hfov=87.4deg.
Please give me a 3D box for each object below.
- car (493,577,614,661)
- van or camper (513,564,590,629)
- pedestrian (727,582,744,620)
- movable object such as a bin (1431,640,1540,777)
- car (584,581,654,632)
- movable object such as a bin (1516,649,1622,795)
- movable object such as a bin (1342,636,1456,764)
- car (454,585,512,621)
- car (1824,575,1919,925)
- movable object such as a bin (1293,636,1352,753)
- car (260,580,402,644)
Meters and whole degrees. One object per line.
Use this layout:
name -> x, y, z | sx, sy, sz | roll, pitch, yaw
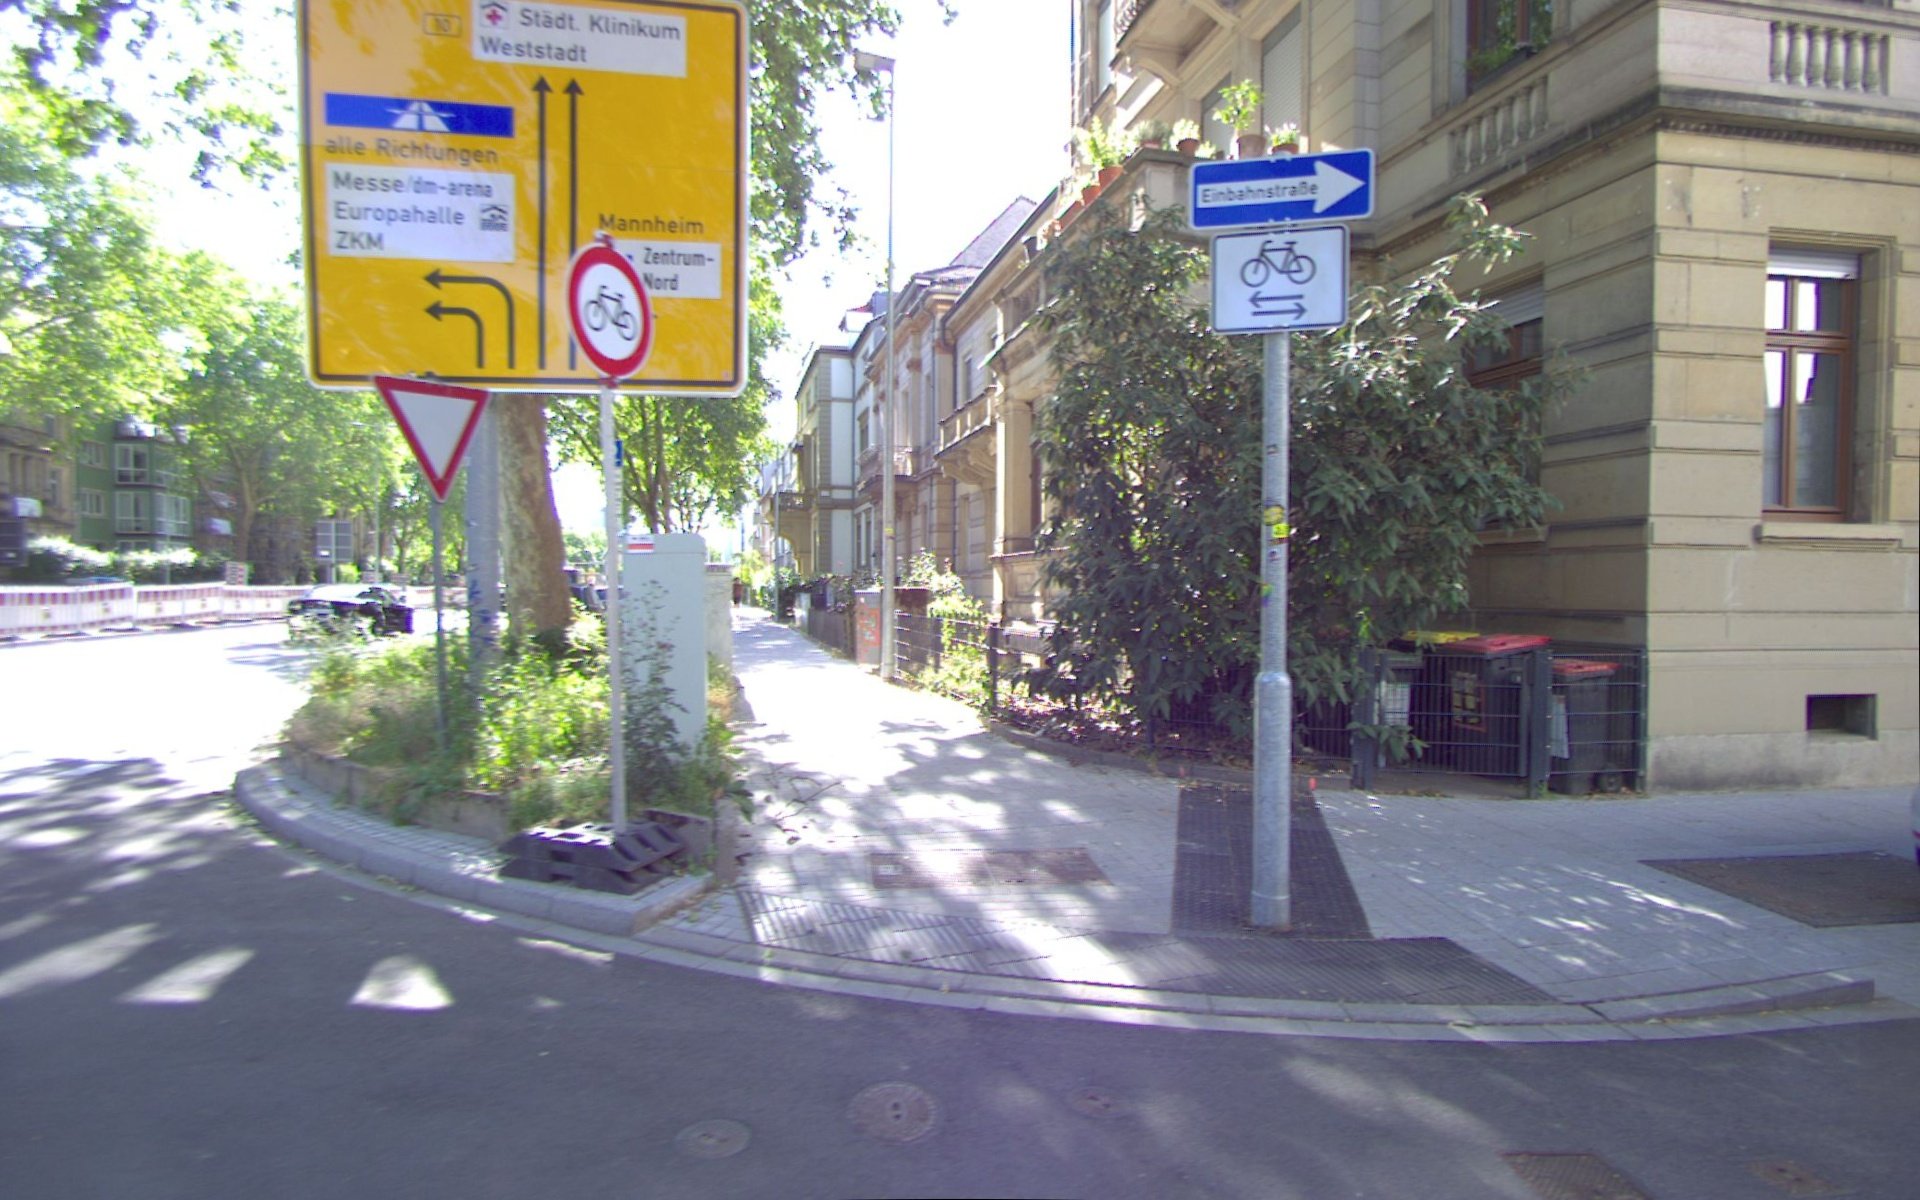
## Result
car -> -8.494, 0.344, 21.296 | 1.748, 1.589, 3.989 | -1, 1, -13
van or camper -> -15.922, -0.141, 39.415 | 2.215, 2.377, 4.523 | 1, 0, -15
pedestrian -> -10.154, 0.058, 45.470 | 0.637, 1.675, 0.730 | 1, 0, -20
movable object such as a bin -> 4.053, 0.819, 7.768 | 0.511, 0.983, 0.547 | 0, 1, -12
car -> -11.321, 0.194, 33.570 | 1.747, 1.589, 3.990 | 0, 1, -12
movable object such as a bin -> 4.356, 0.860, 7.199 | 0.511, 0.983, 0.397 | 0, 1, -12
movable object such as a bin -> 3.610, 0.801, 8.286 | 0.677, 0.983, 0.547 | 0, 1, -12
car -> -21.397, 0.127, 45.200 | 1.597, 1.506, 3.723 | 1, 0, -14
car -> 6.378, 0.738, 4.456 | 3.874, 1.582, 1.868 | 1, 2, -13
movable object such as a bin -> 3.189, 0.818, 8.842 | 0.339, 0.983, 0.381 | 0, 1, -12
car -> -16.306, 0.273, 26.298 | 1.812, 1.503, 4.463 | 1, 0, -14
